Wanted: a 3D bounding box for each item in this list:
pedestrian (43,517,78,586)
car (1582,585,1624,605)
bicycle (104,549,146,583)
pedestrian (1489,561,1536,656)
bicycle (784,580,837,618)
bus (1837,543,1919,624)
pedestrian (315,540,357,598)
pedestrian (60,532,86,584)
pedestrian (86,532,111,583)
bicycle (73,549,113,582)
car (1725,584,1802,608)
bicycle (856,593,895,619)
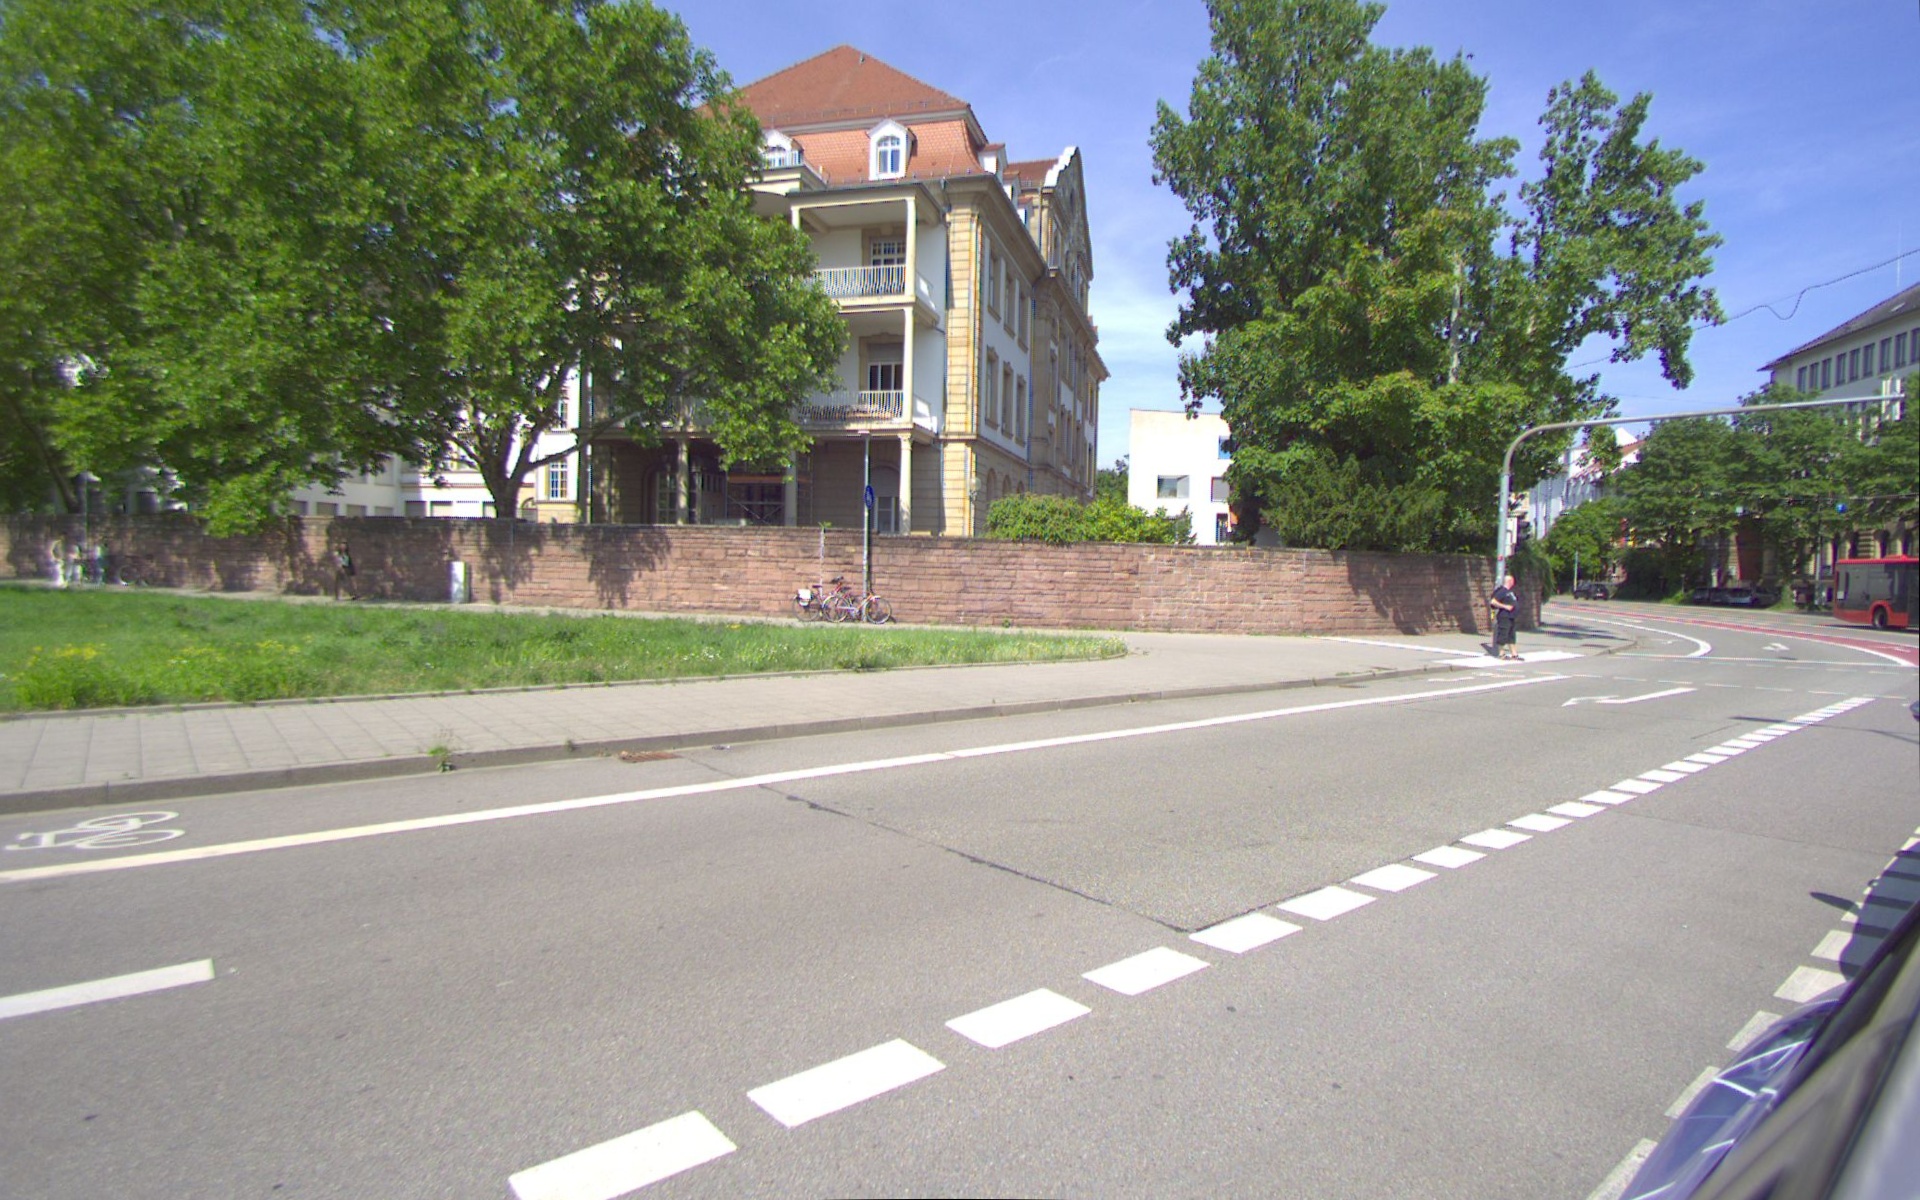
[{"bbox_3d":[-26.979,-1.444,30.359,0.586,2.038,0.522,1,2,9],"label":"pedestrian"},{"bbox_3d":[54.617,-0.466,86.051,1.973,1.638,3.978,0,0,17],"label":"car"},{"bbox_3d":[-27.199,-1.100,32.964,1.432,1.046,0.444,3,2,24],"label":"bicycle"},{"bbox_3d":[12.184,0.170,22.333,0.790,2.038,0.608,2,1,35],"label":"pedestrian"},{"bbox_3d":[-3.679,-0.029,24.904,1.202,0.894,0.395,1,2,-21],"label":"bicycle"},{"bbox_3d":[38.172,-0.633,37.667,3.087,3.133,12.358,0,1,14],"label":"bus"},{"bbox_3d":[-17.234,-0.852,27.941,0.900,1.567,0.501,2,2,15],"label":"pedestrian"},{"bbox_3d":[-27.631,-1.315,31.530,0.700,1.597,0.516,3,3,41],"label":"pedestrian"},{"bbox_3d":[-27.269,-1.356,32.039,0.700,1.597,0.516,3,3,41],"label":"pedestrian"},{"bbox_3d":[-28.851,-1.160,33.673,1.432,1.046,0.444,3,2,24],"label":"bicycle"},{"bbox_3d":[59.305,-0.312,74.738,3.941,1.682,1.993,0,3,14],"label":"car"},{"bbox_3d":[-2.076,0.140,24.942,0.929,0.609,0.275,2,2,-2],"label":"bicycle"}]
